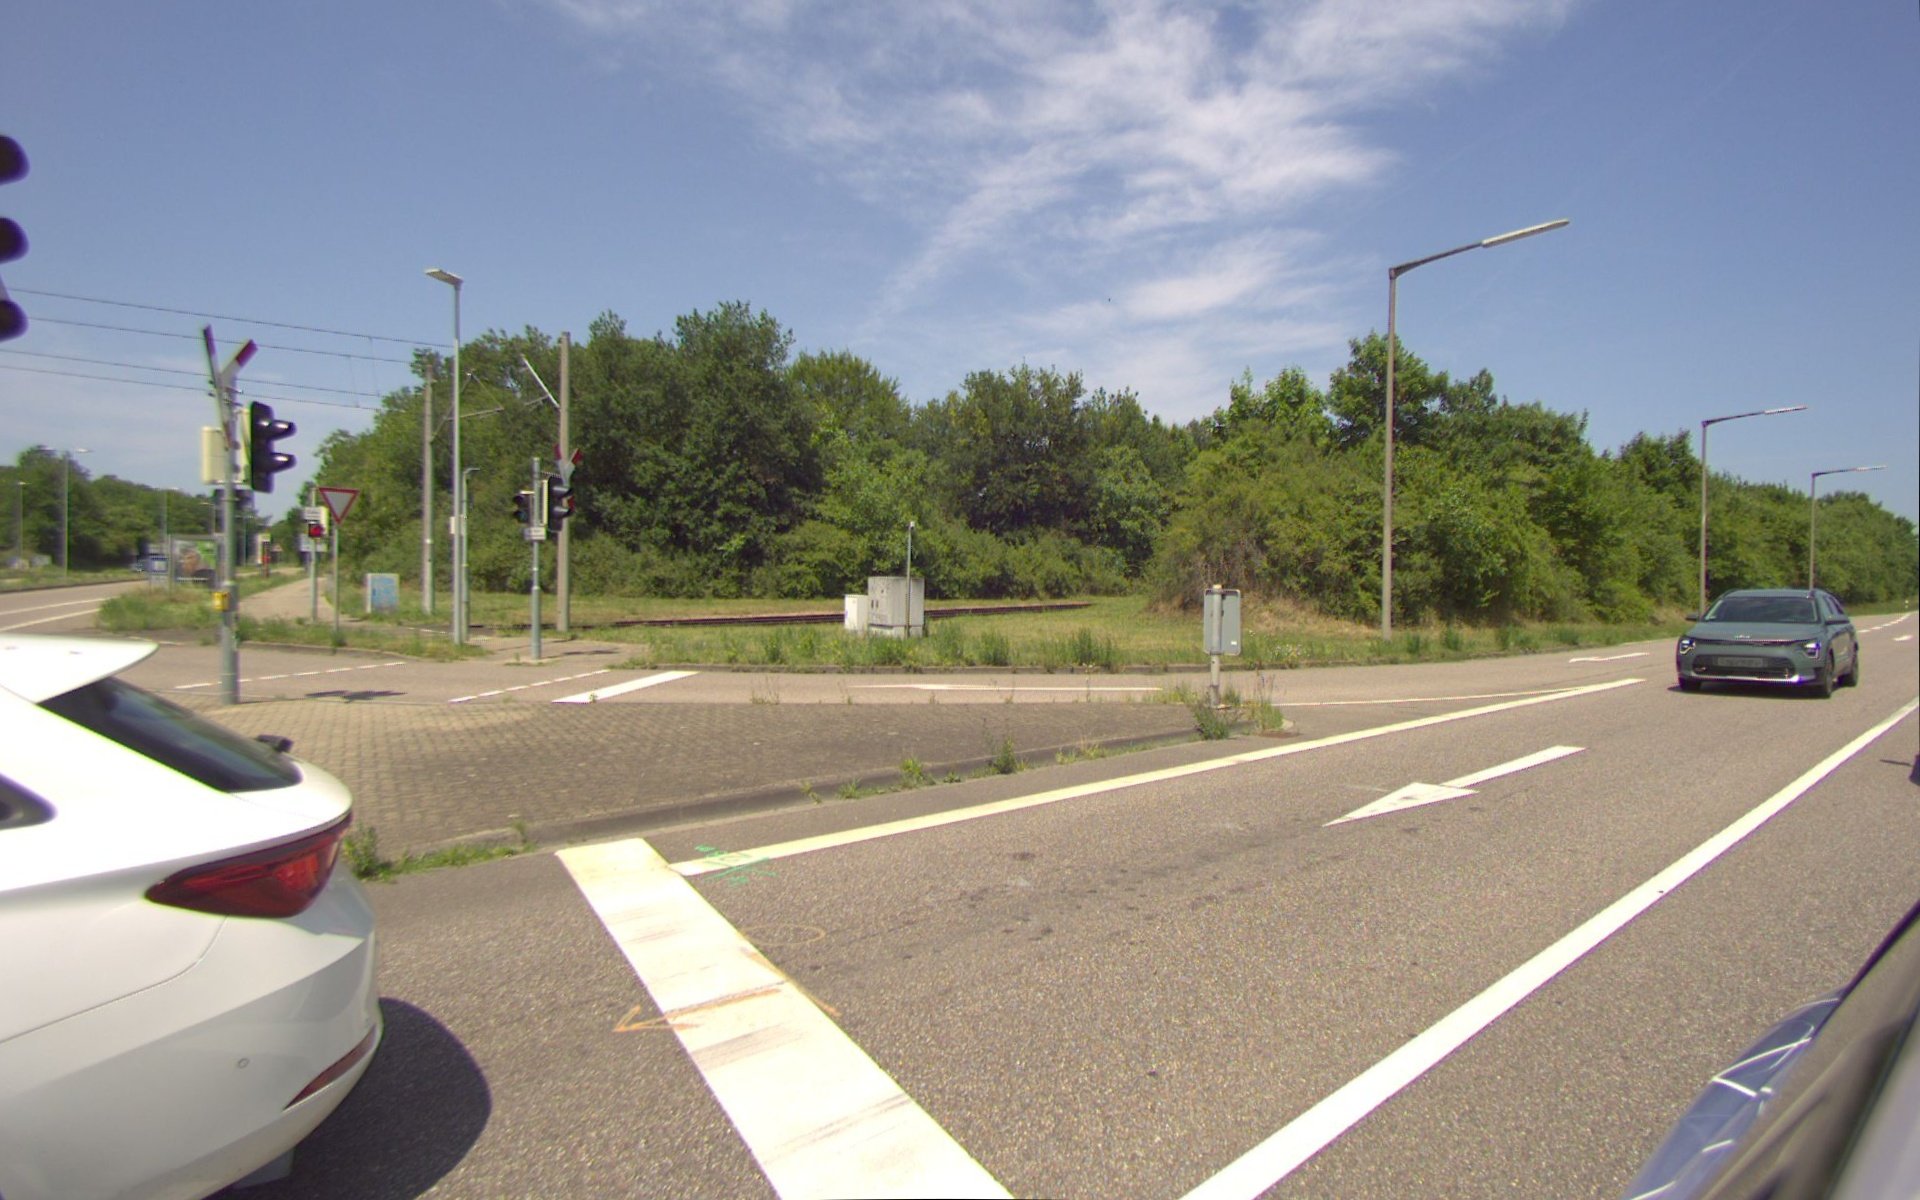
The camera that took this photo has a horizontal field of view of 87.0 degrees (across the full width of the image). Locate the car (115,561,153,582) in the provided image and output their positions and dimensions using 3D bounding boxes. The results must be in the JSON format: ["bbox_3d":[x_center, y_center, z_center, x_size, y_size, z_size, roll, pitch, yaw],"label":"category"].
[{"bbox_3d":[-74.601,-2.571,91.446,1.960,1.812,4.005,0,1,-29],"label":"car"}]

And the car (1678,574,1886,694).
[{"bbox_3d":[12.812,0.432,15.699,3.928,1.616,1.723,0,2,-39],"label":"car"}]

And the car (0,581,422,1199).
[{"bbox_3d":[-3.320,0.678,1.308,4.376,1.407,1.684,-1,1,-43],"label":"car"}]
